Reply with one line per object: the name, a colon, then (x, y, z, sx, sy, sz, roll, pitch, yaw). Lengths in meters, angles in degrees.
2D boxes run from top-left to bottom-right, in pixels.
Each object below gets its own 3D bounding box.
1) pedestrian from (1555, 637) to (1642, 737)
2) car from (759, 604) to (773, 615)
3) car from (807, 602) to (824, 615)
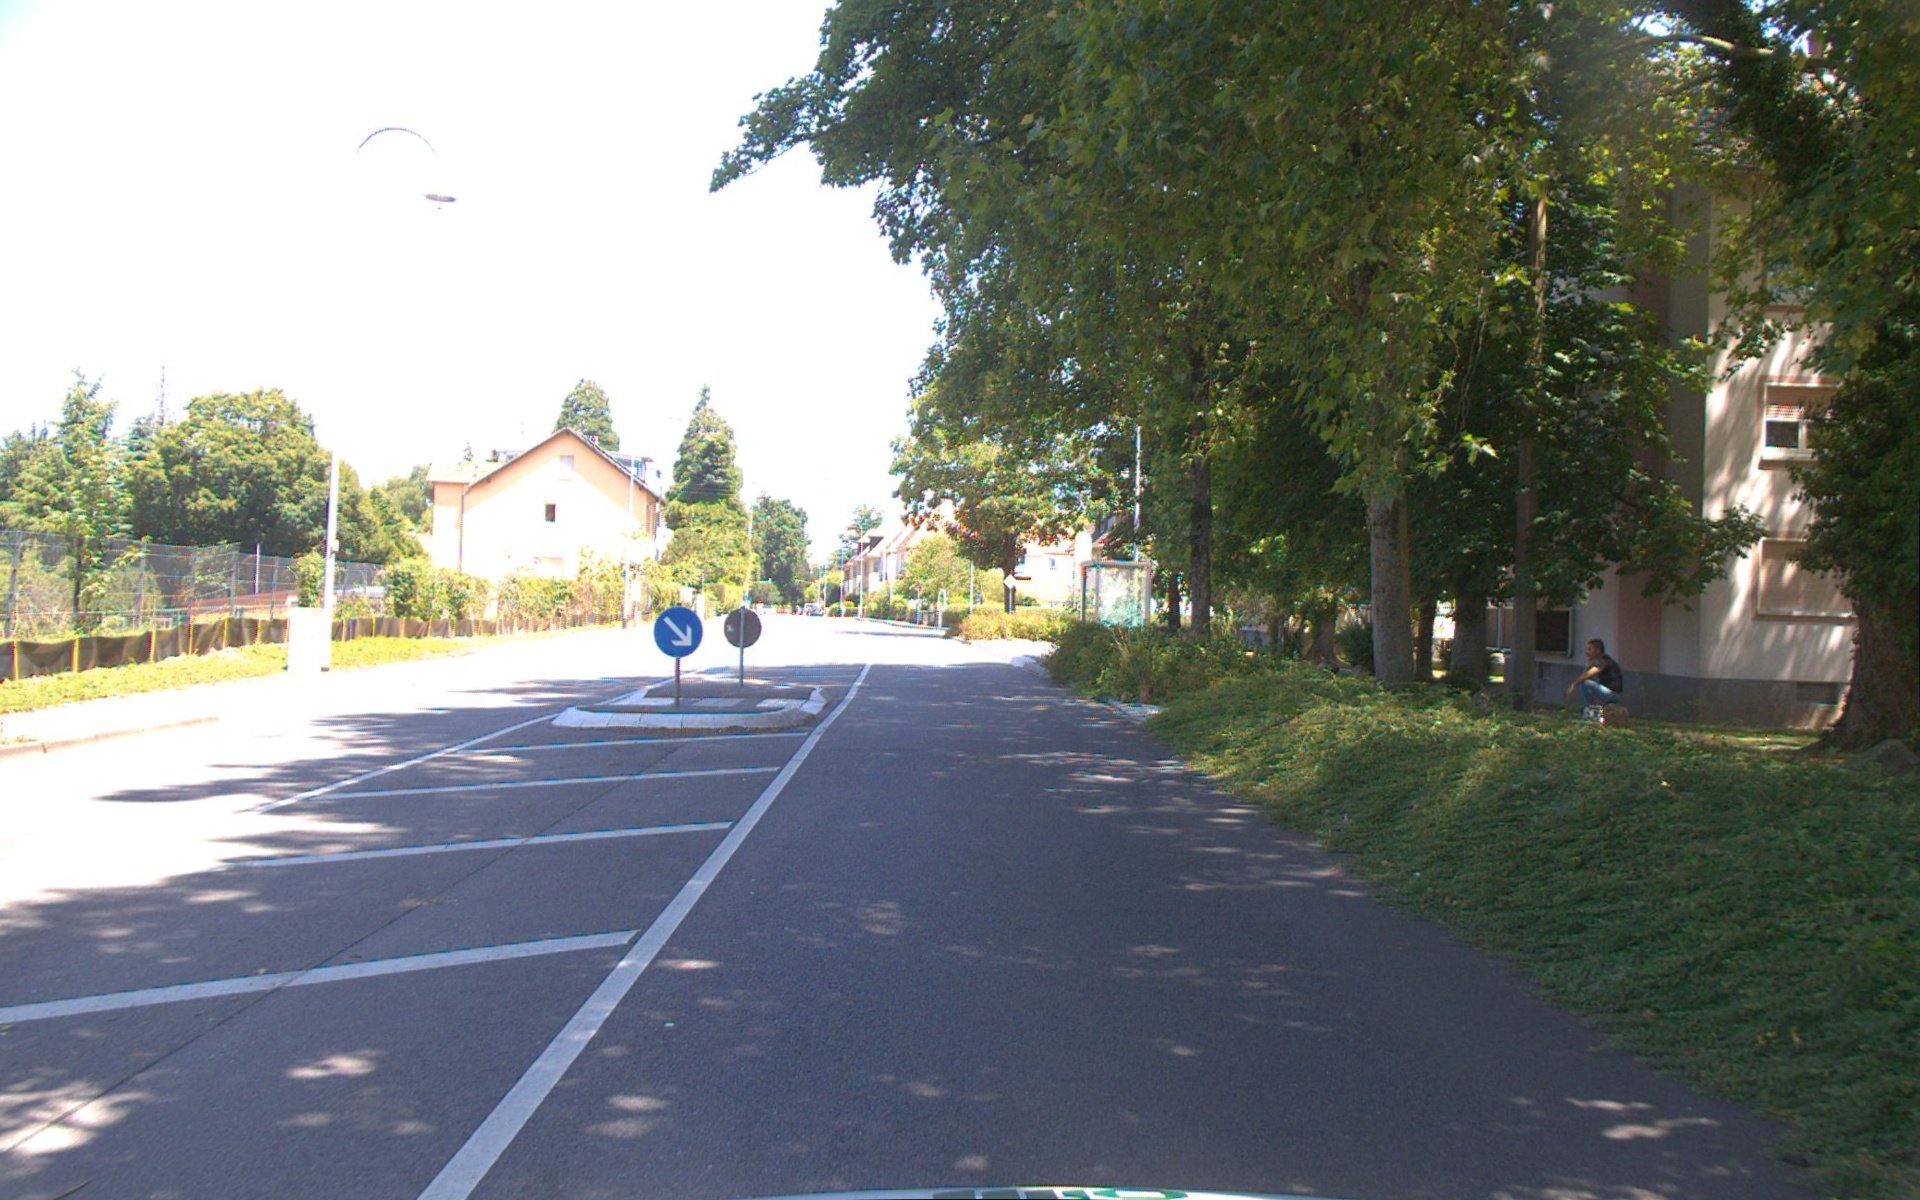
pedestrian: (8.912, 1.195, 23.111, 0.919, 1.315, 1.070, 2, 0, 10)
car: (-23.935, 1.170, 203.719, 1.648, 1.396, 4.200, 0, 0, -6)
car: (-17.024, 1.022, 194.452, 1.661, 1.444, 4.541, 2, -2, -8)
